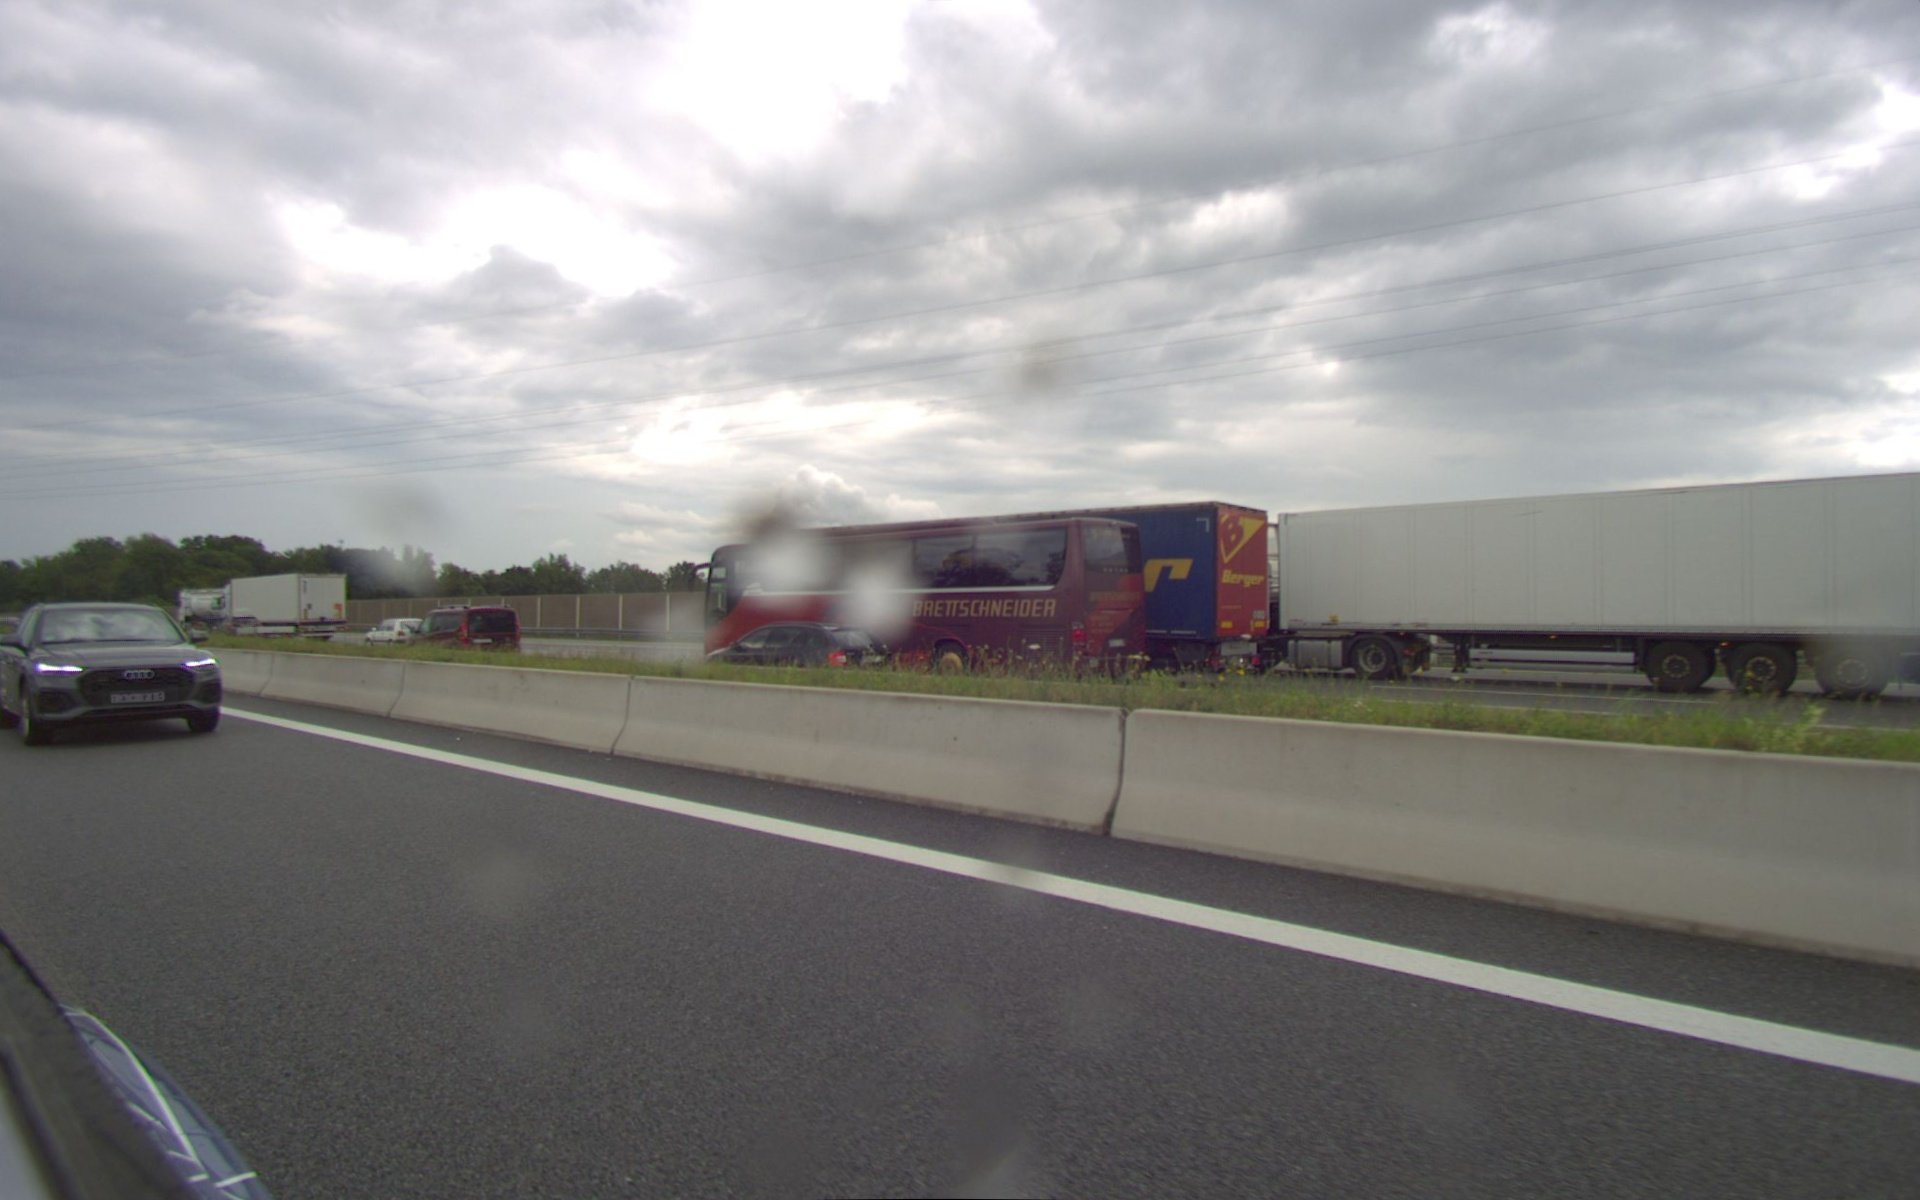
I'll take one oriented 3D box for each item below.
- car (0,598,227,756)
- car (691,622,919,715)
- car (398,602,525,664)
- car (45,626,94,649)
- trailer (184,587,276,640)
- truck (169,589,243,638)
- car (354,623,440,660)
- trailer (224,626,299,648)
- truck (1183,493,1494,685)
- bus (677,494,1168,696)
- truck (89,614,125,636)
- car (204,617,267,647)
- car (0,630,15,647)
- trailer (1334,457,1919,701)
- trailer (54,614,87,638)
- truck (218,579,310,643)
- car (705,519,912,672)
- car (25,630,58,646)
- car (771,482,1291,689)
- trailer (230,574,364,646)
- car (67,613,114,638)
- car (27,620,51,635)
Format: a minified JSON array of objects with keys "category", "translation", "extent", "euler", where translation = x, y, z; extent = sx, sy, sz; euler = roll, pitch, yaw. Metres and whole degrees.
[{"category":"car","translation":[-11.469,0.868,13.359],"extent":[5.167,1.704,1.888],"euler":[-1,-1,42]},{"category":"car","translation":[-3.075,1.223,19.474],"extent":[4.561,1.545,1.769],"euler":[-1,0,40]},{"category":"car","translation":[-14.702,0.942,29.770],"extent":[4.293,1.678,1.769],"euler":[-1,0,40]},{"category":"car","translation":[-60.696,2.501,68.946],"extent":[4.560,1.465,1.770],"euler":[-1,0,39]},{"category":"trailer","translation":[-63.862,1.188,88.365],"extent":[12.458,4.269,3.623],"euler":[-1,0,40]},{"category":"truck","translation":[-69.293,1.242,92.949],"extent":[8.231,4.351,3.623],"euler":[-1,0,40]},{"category":"car","translation":[-24.508,1.757,43.962],"extent":[4.561,1.466,1.769],"euler":[-1,0,40]},{"category":"trailer","translation":[-37.396,1.958,54.159],"extent":[4.755,1.078,2.072],"euler":[-1,0,39]},{"category":"truck","translation":[9.225,-0.197,25.106],"extent":[6.617,4.147,2.871],"euler":[-1,0,40]},{"category":"bus","translation":[-1.594,-0.004,23.439],"extent":[12.749,3.638,2.861],"euler":[-1,0,40]},{"category":"truck","translation":[-96.595,2.809,114.626],"extent":[6.259,2.470,2.081],"euler":[-1,0,40]},{"category":"car","translation":[-40.972,1.783,57.177],"extent":[4.560,1.574,1.770],"euler":[-1,0,39]},{"category":"car","translation":[-86.774,3.436,91.234],"extent":[4.560,1.465,1.770],"euler":[-1,0,39]},{"category":"trailer","translation":[14.502,-0.311,20.611],"extent":[12.689,4.147,2.871],"euler":[-1,0,40]},{"category":"trailer","translation":[-110.707,3.223,125.943],"extent":[4.896,2.984,2.225],"euler":[-1,0,39]},{"category":"truck","translation":[-46.931,0.761,68.194],"extent":[6.521,4.078,3.622],"euler":[-1,0,41]},{"category":"car","translation":[-4.702,-0.086,30.783],"extent":[6.038,4.181,2.952],"euler":[-1,0,40]},{"category":"car","translation":[-91.059,3.734,100.316],"extent":[4.560,1.465,1.770],"euler":[-1,0,39]},{"category":"car","translation":[0.915,-0.186,26.051],"extent":[14.384,4.155,2.952],"euler":[-1,0,40]},{"category":"trailer","translation":[-42.129,0.659,64.013],"extent":[13.392,4.139,3.622],"euler":[-1,0,41]},{"category":"car","translation":[-73.434,2.128,85.470],"extent":[6.085,1.983,2.256],"euler":[-1,0,42]},{"category":"car","translation":[-126.051,3.732,138.537],"extent":[4.938,1.982,1.748],"euler":[-1,0,39]}]
